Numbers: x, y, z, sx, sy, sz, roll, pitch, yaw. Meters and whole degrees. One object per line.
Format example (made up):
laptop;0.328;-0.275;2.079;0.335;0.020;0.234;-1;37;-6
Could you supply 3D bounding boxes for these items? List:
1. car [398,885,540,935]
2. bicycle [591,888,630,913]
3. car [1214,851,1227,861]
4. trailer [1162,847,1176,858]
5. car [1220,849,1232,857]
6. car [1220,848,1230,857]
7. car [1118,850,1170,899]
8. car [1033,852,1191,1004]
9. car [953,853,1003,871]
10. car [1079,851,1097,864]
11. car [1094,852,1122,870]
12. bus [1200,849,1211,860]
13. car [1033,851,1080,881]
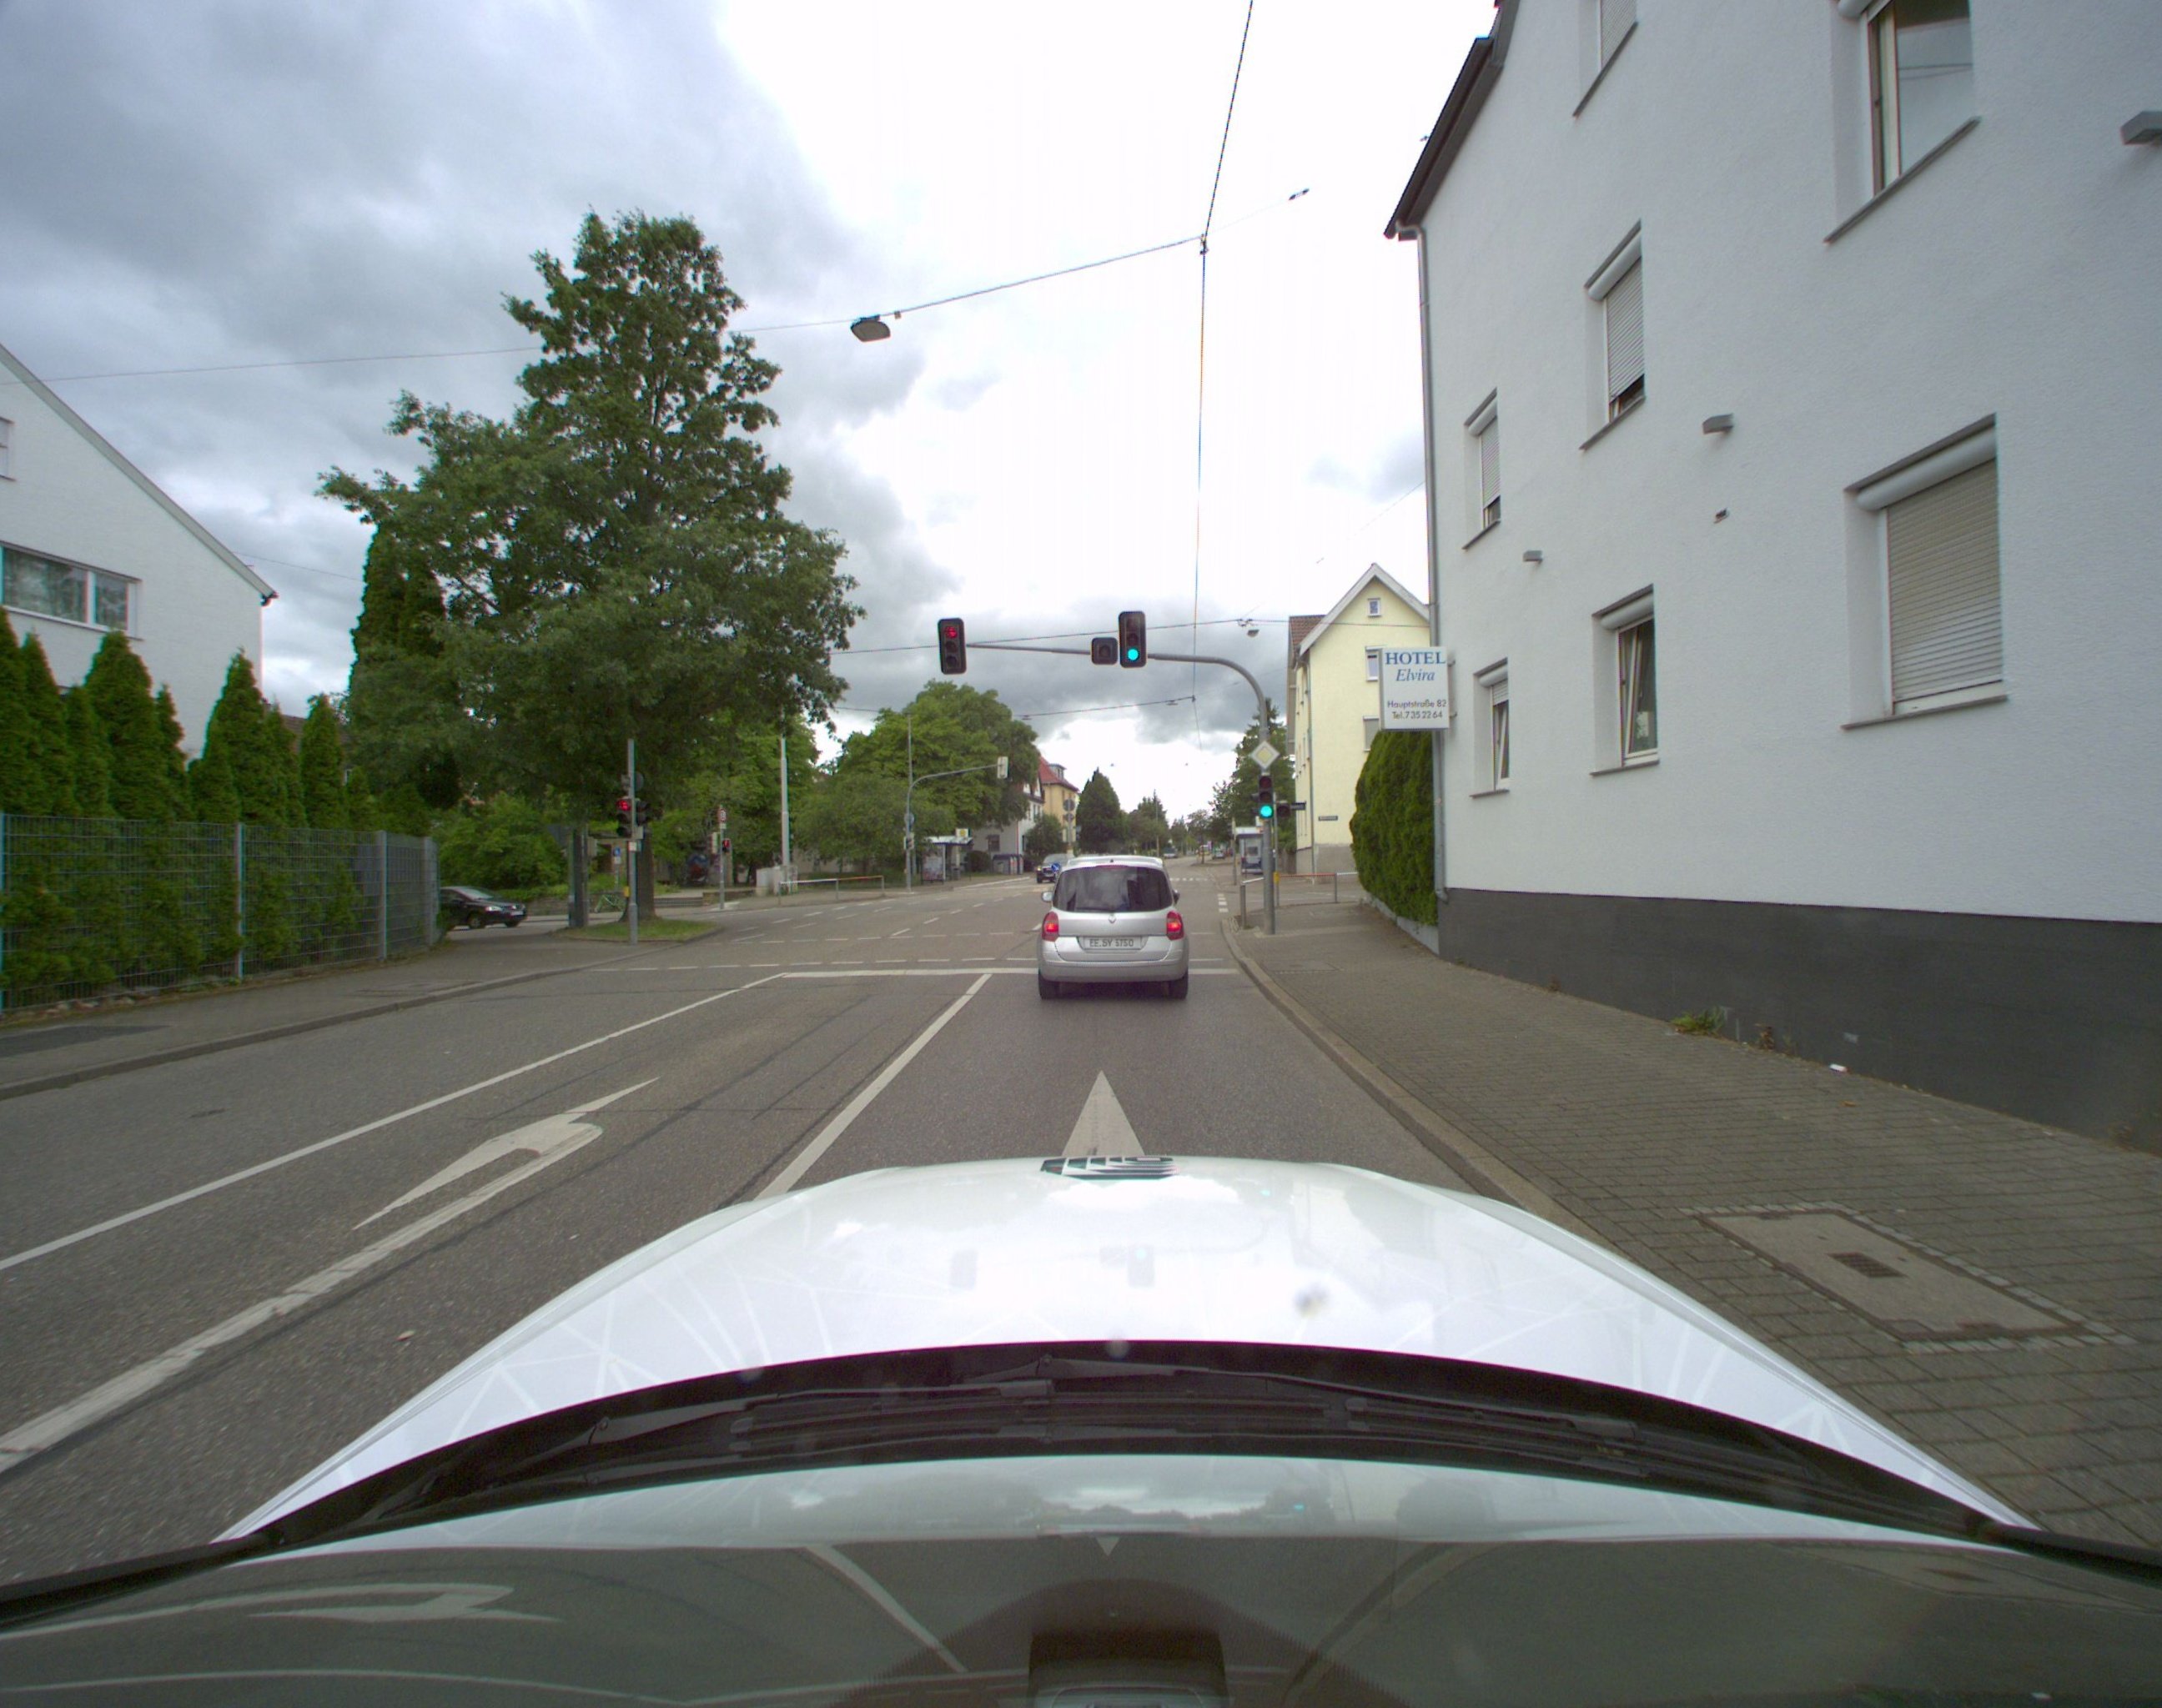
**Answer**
car;-20.820;1.889;27.786;3.613;1.398;1.776;-3;0;8
bicycle;-20.404;2.007;35.328;1.312;0.942;0.424;-4;-1;-7
car;20.263;0.321;118.235;1.639;1.382;4.013;-1;-1;12
trailer;17.209;-0.223;159.493;2.297;2.087;5.889;0;-1;10
car;24.343;-0.193;136.862;1.650;1.393;3.681;-1;0;14
car;25.016;-0.270;141.290;1.652;1.564;4.109;-2;0;9
car;2.419;0.745;30.888;1.820;1.675;3.579;-2;0;5
car;0.451;0.779;10.386;1.623;1.557;4.004;0;-1;4
car;-9.095;0.679;71.875;3.963;1.332;1.726;-4;-2;9
car;0.956;0.468;109.879;1.796;1.564;4.629;-4;0;8
car;2.215;0.579;65.833;1.554;1.420;4.142;-2;-1;10
bus;38.770;0.125;253.473;2.615;3.086;12.105;-3;0;10
car;-1.379;0.708;48.413;1.747;1.635;4.608;-3;-2;11
